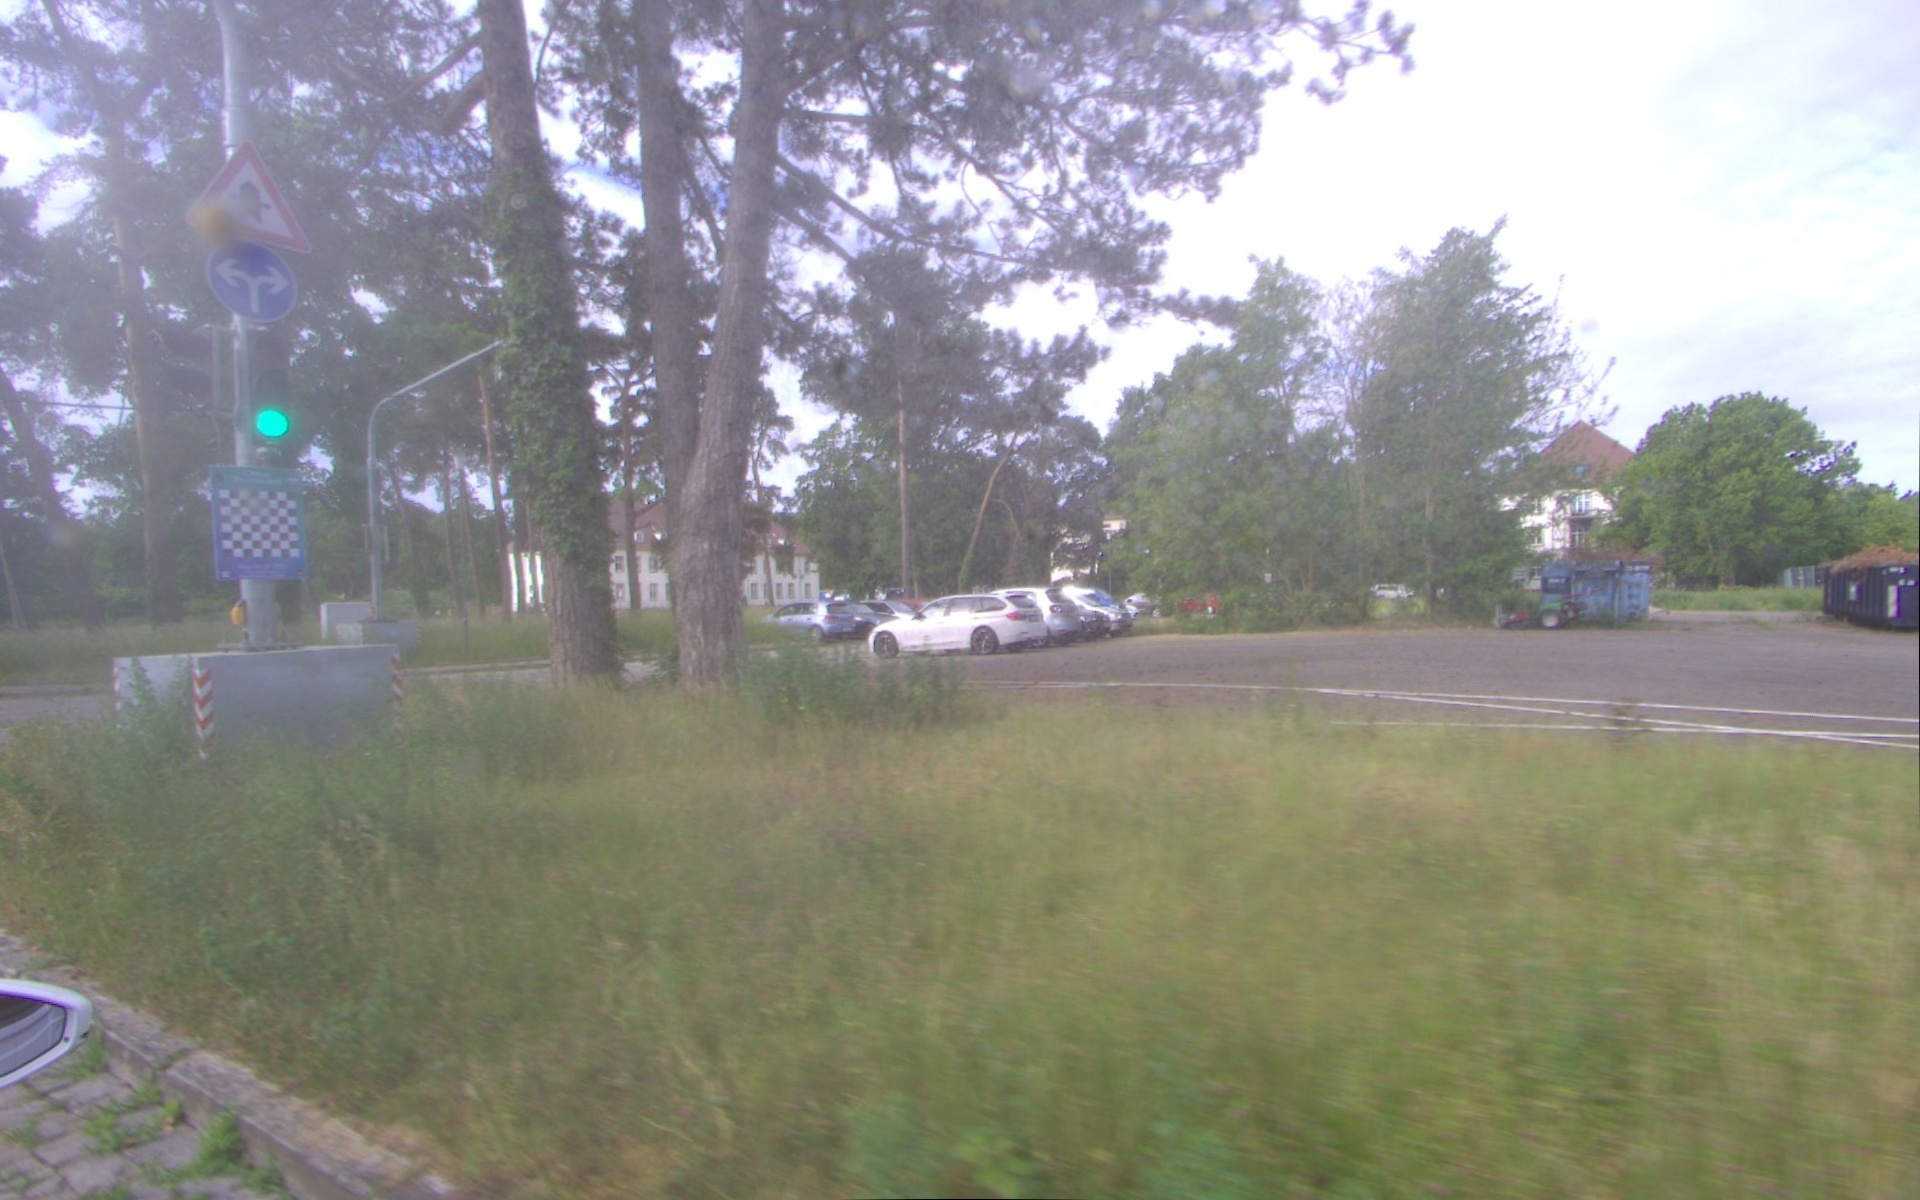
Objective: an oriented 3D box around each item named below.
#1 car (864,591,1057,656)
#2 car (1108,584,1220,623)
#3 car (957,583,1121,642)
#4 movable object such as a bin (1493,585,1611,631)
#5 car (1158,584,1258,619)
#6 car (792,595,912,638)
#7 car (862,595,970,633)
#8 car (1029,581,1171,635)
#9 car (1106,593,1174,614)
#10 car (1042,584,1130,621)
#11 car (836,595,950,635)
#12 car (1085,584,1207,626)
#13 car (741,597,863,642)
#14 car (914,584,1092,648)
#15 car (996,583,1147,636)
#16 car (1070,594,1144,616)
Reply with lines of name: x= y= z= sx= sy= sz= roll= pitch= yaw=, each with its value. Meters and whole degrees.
car: x=-0.024 y=0.575 z=24.328 sx=4.381 sy=1.434 sz=1.750 roll=-2 pitch=0 yaw=30
car: x=8.845 y=0.173 z=43.492 sx=4.380 sy=1.598 sz=1.864 roll=-1 pitch=1 yaw=30
car: x=2.277 y=0.351 z=29.069 sx=4.380 sy=1.598 sz=1.864 roll=-1 pitch=1 yaw=30
movable object such as a bin: x=14.915 y=0.172 z=25.305 sx=2.505 sy=1.098 sz=1.060 roll=1 pitch=2 yaw=31
car: x=12.057 y=0.074 z=48.717 sx=4.380 sy=1.598 sz=1.864 roll=-1 pitch=1 yaw=30
car: x=-4.175 y=0.625 z=38.502 sx=4.380 sy=1.544 sz=1.750 roll=-1 pitch=1 yaw=29
car: x=-1.913 y=0.596 z=43.117 sx=4.380 sy=1.544 sz=1.750 roll=-1 pitch=1 yaw=30
car: x=4.717 y=0.275 z=33.793 sx=4.380 sy=1.709 sz=1.864 roll=-1 pitch=1 yaw=30
car: x=11.426 y=0.219 z=63.589 sx=3.934 sy=1.226 sz=1.657 roll=-1 pitch=1 yaw=24
car: x=7.039 y=0.138 z=56.142 sx=4.587 sy=1.994 sz=1.750 roll=-1 pitch=1 yaw=30
car: x=-2.730 y=0.601 z=40.731 sx=4.380 sy=1.544 sz=1.750 roll=-1 pitch=1 yaw=30
car: x=7.348 y=0.206 z=39.589 sx=4.380 sy=1.598 sz=1.864 roll=-1 pitch=1 yaw=30
car: x=-5.831 y=0.706 z=36.672 sx=4.386 sy=1.544 sz=1.747 roll=-1 pitch=1 yaw=34
car: x=1.117 y=0.414 z=26.656 sx=4.380 sy=1.598 sz=1.864 roll=-1 pitch=1 yaw=30
car: x=3.525 y=0.300 z=31.704 sx=4.380 sy=1.598 sz=1.864 roll=-1 pitch=1 yaw=30
car: x=8.562 y=0.296 z=58.352 sx=3.942 sy=1.226 sz=1.654 roll=-1 pitch=1 yaw=31
